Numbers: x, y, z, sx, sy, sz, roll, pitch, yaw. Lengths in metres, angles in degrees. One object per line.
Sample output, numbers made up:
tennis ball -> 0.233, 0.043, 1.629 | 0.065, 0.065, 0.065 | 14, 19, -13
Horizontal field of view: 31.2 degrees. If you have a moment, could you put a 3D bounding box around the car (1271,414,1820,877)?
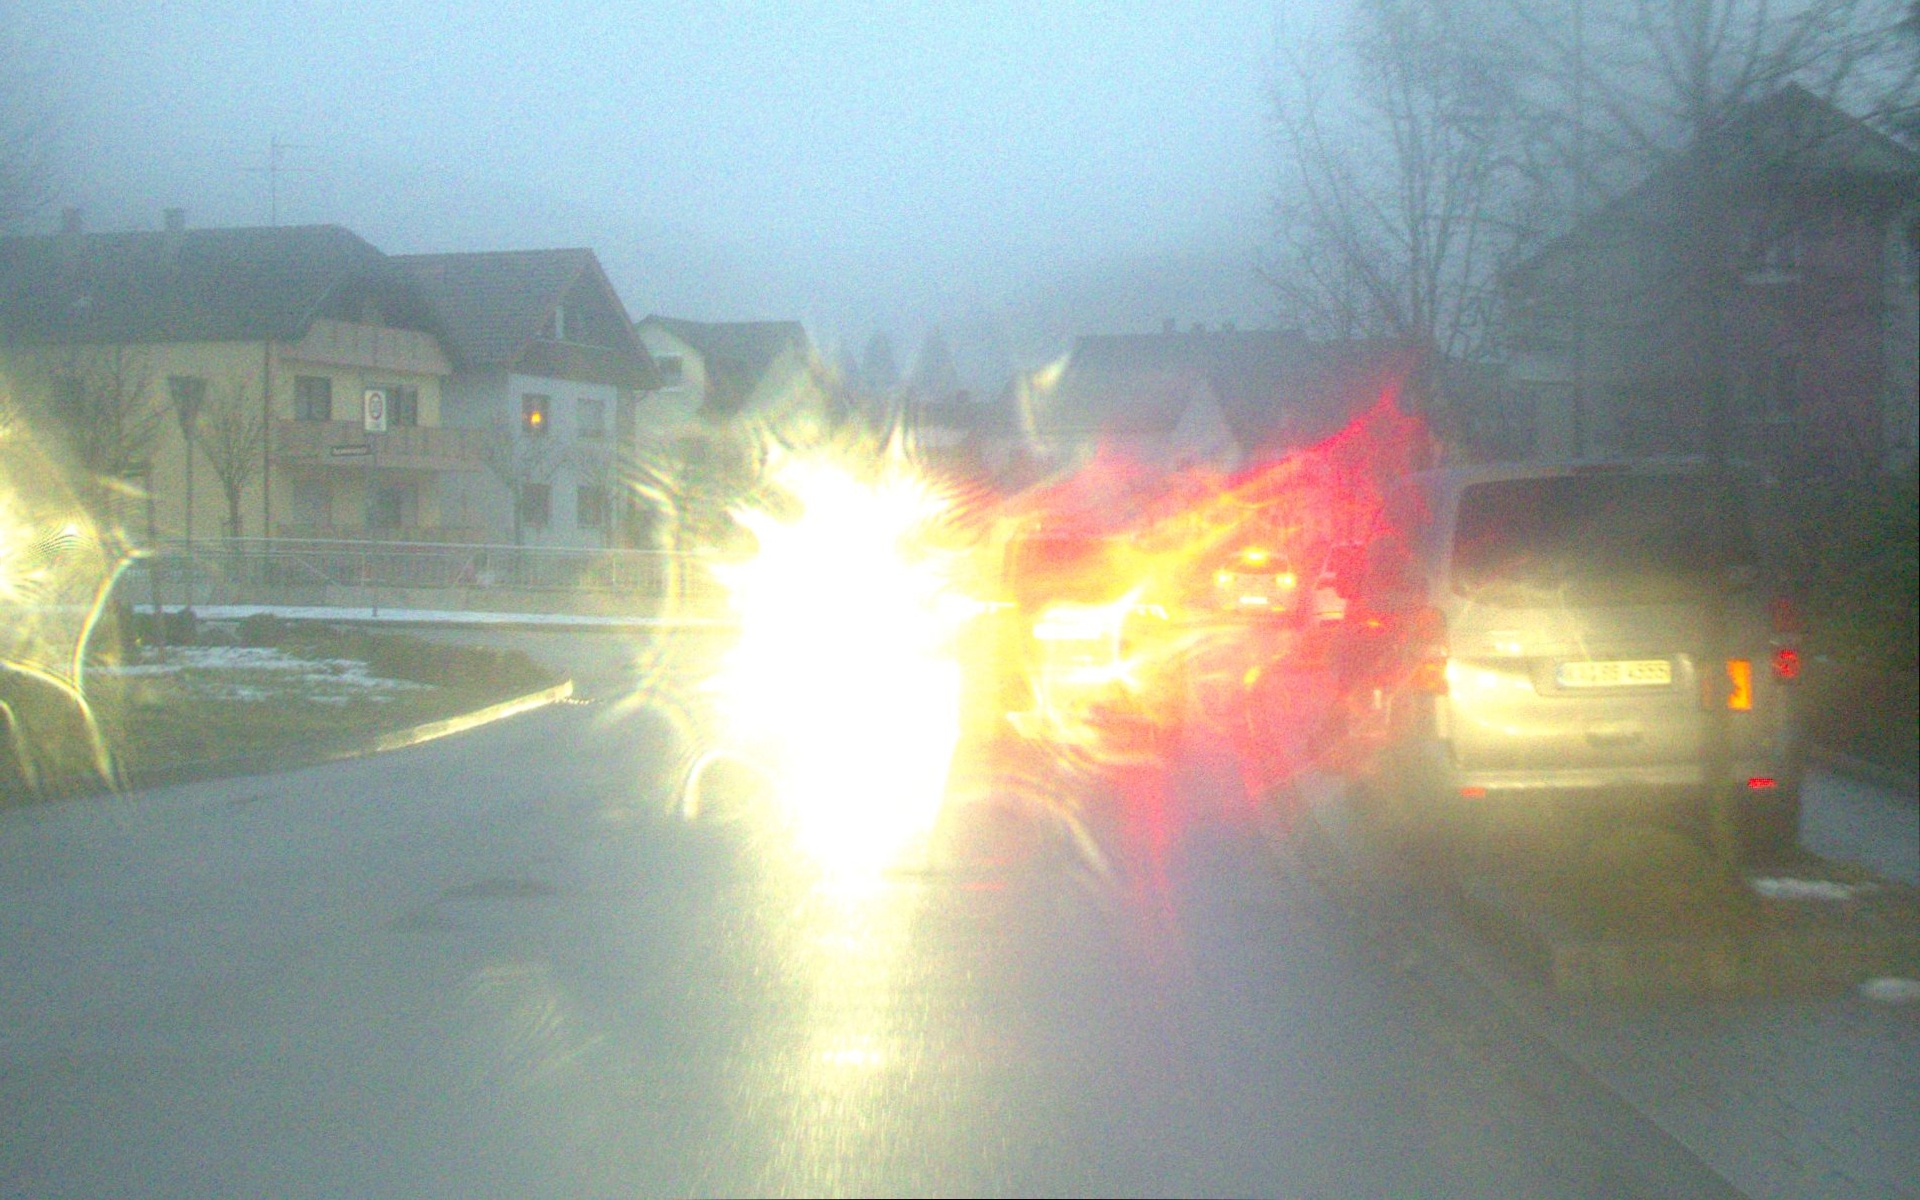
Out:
car -> 2.882, 0.134, 18.265 | 1.977, 2.007, 5.745 | -2, 1, 1

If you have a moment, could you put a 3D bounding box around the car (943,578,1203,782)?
car -> 0.882, 0.604, 28.566 | 1.993, 1.520, 4.000 | 1, 1, 0

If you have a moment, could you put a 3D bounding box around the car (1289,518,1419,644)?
car -> 6.108, -0.328, 52.947 | 1.745, 1.779, 4.334 | -2, 1, 9

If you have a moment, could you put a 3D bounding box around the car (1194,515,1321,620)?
car -> 5.969, -0.646, 68.654 | 1.995, 2.007, 3.998 | 1, 0, 12

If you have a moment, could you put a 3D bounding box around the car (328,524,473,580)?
car -> -14.078, -1.215, 86.684 | 1.995, 1.303, 4.109 | 2, 2, 16

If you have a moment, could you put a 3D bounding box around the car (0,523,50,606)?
car -> -17.612, -0.630, 60.240 | 1.389, 1.433, 4.334 | 2, 2, 12

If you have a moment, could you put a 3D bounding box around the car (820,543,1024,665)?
car -> -0.441, 0.011, 45.405 | 1.907, 1.483, 4.566 | 0, 1, 10
